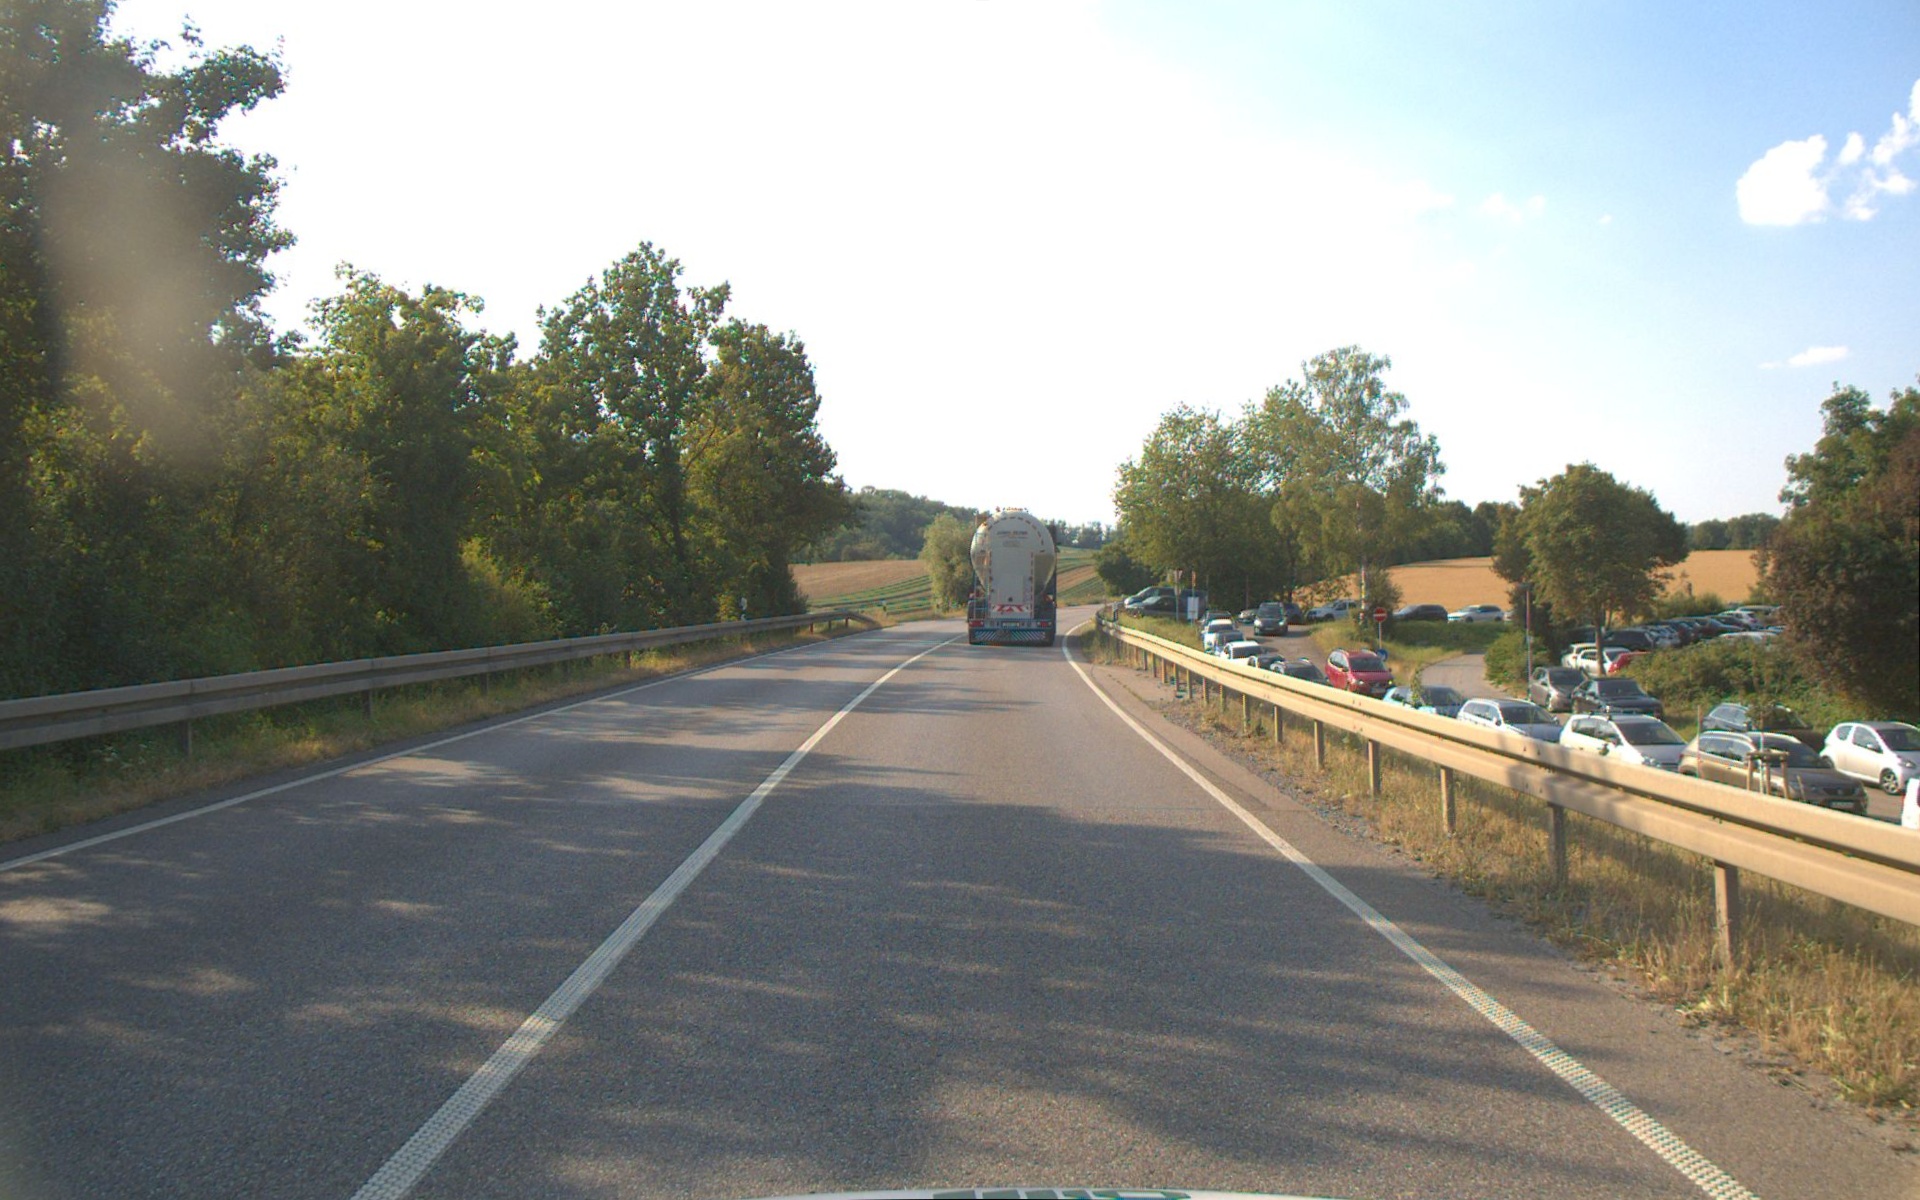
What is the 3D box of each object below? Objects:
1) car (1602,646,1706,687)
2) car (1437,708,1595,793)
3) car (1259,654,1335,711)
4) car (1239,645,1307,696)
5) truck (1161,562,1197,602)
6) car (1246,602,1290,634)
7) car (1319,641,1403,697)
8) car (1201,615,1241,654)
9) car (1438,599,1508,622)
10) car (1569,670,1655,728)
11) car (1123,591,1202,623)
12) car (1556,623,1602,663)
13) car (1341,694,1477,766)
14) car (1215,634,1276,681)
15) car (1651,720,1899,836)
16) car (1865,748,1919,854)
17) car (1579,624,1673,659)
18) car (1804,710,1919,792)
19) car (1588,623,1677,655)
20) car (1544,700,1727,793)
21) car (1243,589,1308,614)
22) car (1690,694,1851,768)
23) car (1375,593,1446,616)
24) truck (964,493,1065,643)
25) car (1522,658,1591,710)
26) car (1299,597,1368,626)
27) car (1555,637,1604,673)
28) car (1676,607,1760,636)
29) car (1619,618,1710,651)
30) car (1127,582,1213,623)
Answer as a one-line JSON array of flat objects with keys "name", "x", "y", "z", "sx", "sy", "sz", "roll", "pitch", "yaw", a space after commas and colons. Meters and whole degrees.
[{"name": "car", "x": 28.479, "y": 2.717, "z": 67.957, "sx": 3.684, "sy": 1.570, "sz": 1.656, "roll": 0, "pitch": 0, "yaw": 12}, {"name": "car", "x": 14.800, "y": 3.960, "z": 44.350, "sx": 1.859, "sy": 1.586, "sz": 4.770, "roll": -4, "pitch": 2, "yaw": -11}, {"name": "car", "x": 12.512, "y": 3.026, "z": 61.649, "sx": 1.853, "sy": 1.586, "sz": 4.784, "roll": -3, "pitch": 2, "yaw": 1}, {"name": "car", "x": 12.619, "y": 2.815, "z": 66.912, "sx": 1.853, "sy": 1.586, "sz": 4.784, "roll": -3, "pitch": 2, "yaw": 1}, {"name": "truck", "x": 24.240, "y": -2.038, "z": 182.496, "sx": 3.115, "sy": 4.301, "sz": 13.185, "roll": -1, "pitch": 1, "yaw": 11}, {"name": "car", "x": 17.029, "y": 0.978, "z": 91.681, "sx": 1.852, "sy": 1.704, "sz": 4.784, "roll": 0, "pitch": 0, "yaw": 4}, {"name": "car", "x": 15.707, "y": 2.682, "z": 65.068, "sx": 1.854, "sy": 1.716, "sz": 5.085, "roll": -3, "pitch": 2, "yaw": -2}, {"name": "car", "x": 13.225, "y": 1.707, "z": 84.118, "sx": 1.852, "sy": 1.586, "sz": 4.788, "roll": -3, "pitch": 2, "yaw": 8}, {"name": "car", "x": 35.248, "y": 0.732, "z": 113.655, "sx": 4.578, "sy": 1.533, "sz": 1.981, "roll": 1, "pitch": 0, "yaw": -29}, {"name": "car", "x": 21.000, "y": 3.158, "z": 53.454, "sx": 1.665, "sy": 1.423, "sz": 4.789, "roll": -3, "pitch": 0, "yaw": 11}, {"name": "car", "x": 11.700, "y": 0.432, "z": 95.557, "sx": 4.255, "sy": 1.535, "sz": 1.708, "roll": 4, "pitch": 1, "yaw": -25}, {"name": "car", "x": 31.953, "y": 2.204, "z": 85.323, "sx": 1.762, "sy": 1.874, "sz": 4.592, "roll": 0, "pitch": 1, "yaw": 26}, {"name": "car", "x": 13.533, "y": 3.889, "z": 50.155, "sx": 1.860, "sy": 1.586, "sz": 4.765, "roll": -4, "pitch": 2, "yaw": -14}, {"name": "car", "x": 12.510, "y": 2.499, "z": 72.784, "sx": 1.853, "sy": 1.586, "sz": 4.784, "roll": -3, "pitch": 2, "yaw": 1}, {"name": "car", "x": 16.389, "y": 3.523, "z": 33.574, "sx": 1.860, "sy": 1.586, "sz": 4.765, "roll": -4, "pitch": 2, "yaw": -14}, {"name": "car", "x": 17.661, "y": 3.532, "z": 27.472, "sx": 1.860, "sy": 1.586, "sz": 4.765, "roll": -4, "pitch": 2, "yaw": -14}, {"name": "car", "x": 35.855, "y": 2.220, "z": 89.091, "sx": 4.496, "sy": 1.720, "sz": 1.800, "roll": 0, "pitch": 1, "yaw": 30}, {"name": "car", "x": 21.516, "y": 3.438, "z": 38.264, "sx": 1.668, "sy": 1.423, "sz": 3.941, "roll": -3, "pitch": 0, "yaw": -5}, {"name": "car", "x": 38.055, "y": 2.195, "z": 93.652, "sx": 4.496, "sy": 1.720, "sz": 1.800, "roll": 0, "pitch": 1, "yaw": 30}, {"name": "car", "x": 15.831, "y": 3.393, "z": 39.064, "sx": 1.857, "sy": 1.586, "sz": 4.774, "roll": -1, "pitch": 2, "yaw": -8}, {"name": "car", "x": 20.242, "y": 0.110, "z": 106.051, "sx": 3.662, "sy": 1.466, "sz": 1.801, "roll": 2, "pitch": 0, "yaw": -20}, {"name": "car", "x": 21.060, "y": 3.362, "z": 43.191, "sx": 1.667, "sy": 1.423, "sz": 4.783, "roll": -3, "pitch": 0, "yaw": -2}, {"name": "car", "x": 30.272, "y": 0.304, "z": 111.071, "sx": 4.578, "sy": 1.533, "sz": 1.981, "roll": 1, "pitch": 0, "yaw": -29}, {"name": "truck", "x": 1.686, "y": -0.972, "z": 53.279, "sx": 2.833, "sy": 4.215, "sz": 13.174, "roll": 0, "pitch": 0, "yaw": 1}, {"name": "car", "x": 21.442, "y": 3.005, "z": 59.562, "sx": 1.665, "sy": 1.422, "sz": 4.105, "roll": -3, "pitch": 2, "yaw": 11}, {"name": "car", "x": 24.317, "y": 0.735, "z": 107.684, "sx": 4.143, "sy": 1.778, "sz": 1.800, "roll": -1, "pitch": 1, "yaw": -21}, {"name": "car", "x": 29.449, "y": 2.584, "z": 78.699, "sx": 1.653, "sy": 1.512, "sz": 4.296, "roll": 0, "pitch": 1, "yaw": 13}, {"name": "car", "x": 47.813, "y": 1.309, "z": 104.365, "sx": 1.787, "sy": 1.720, "sz": 4.530, "roll": -1, "pitch": 1, "yaw": -40}, {"name": "car", "x": 40.366, "y": 1.955, "z": 94.875, "sx": 1.787, "sy": 1.720, "sz": 4.530, "roll": -1, "pitch": 1, "yaw": -40}, {"name": "car", "x": 12.943, "y": 0.133, "z": 102.062, "sx": 5.033, "sy": 1.977, "sz": 1.976, "roll": 5, "pitch": 1, "yaw": 5}]
